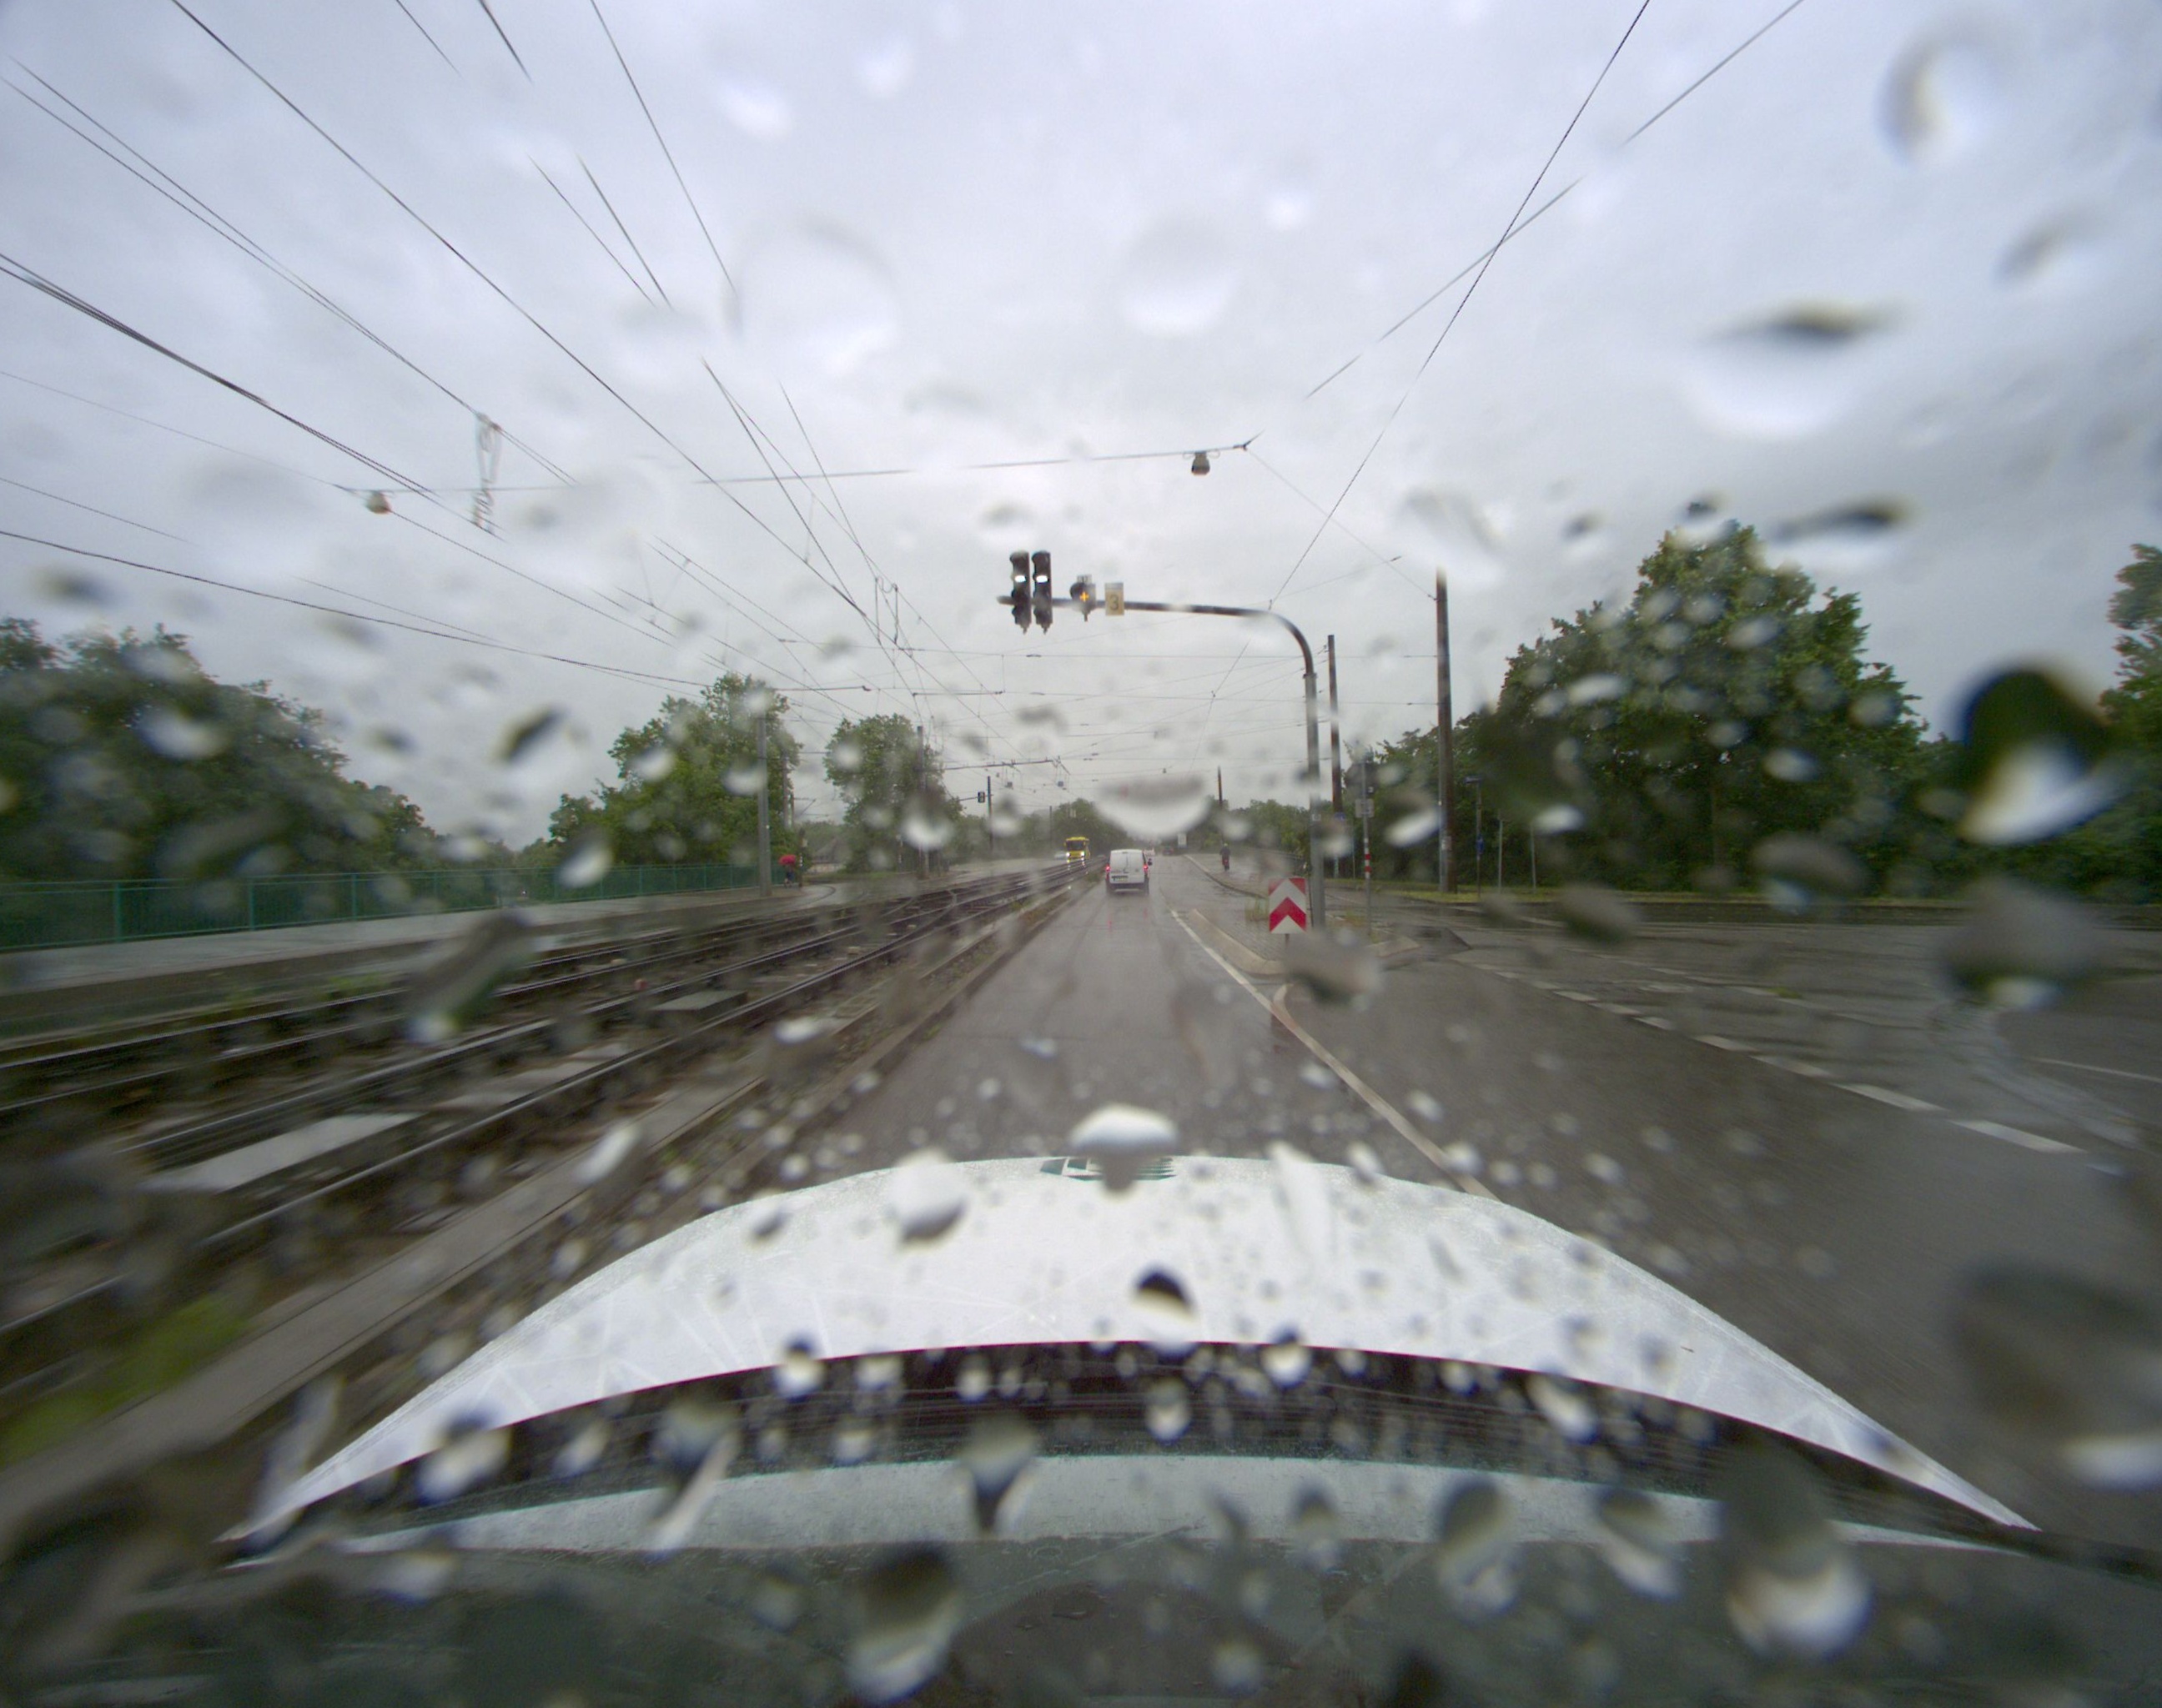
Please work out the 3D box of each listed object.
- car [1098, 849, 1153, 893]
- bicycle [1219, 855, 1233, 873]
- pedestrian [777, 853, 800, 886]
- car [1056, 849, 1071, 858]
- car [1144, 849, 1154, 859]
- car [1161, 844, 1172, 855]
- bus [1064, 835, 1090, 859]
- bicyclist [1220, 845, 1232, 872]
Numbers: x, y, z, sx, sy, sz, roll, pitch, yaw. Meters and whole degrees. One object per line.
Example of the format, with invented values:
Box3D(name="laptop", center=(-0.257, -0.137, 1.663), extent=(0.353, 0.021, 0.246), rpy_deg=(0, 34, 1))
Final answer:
Box3D(name="car", center=(1.940, 0.703, 34.157), extent=(1.982, 1.726, 4.008), rpy_deg=(0, -1, 8))
Box3D(name="bicycle", center=(9.415, 0.637, 53.011), extent=(0.719, 1.129, 2.171), rpy_deg=(0, 0, 6))
Box3D(name="pedestrian", center=(-16.202, 0.854, 45.112), extent=(0.860, 1.819, 1.044), rpy_deg=(0, -1, 3))
Box3D(name="car", center=(-2.829, -0.095, 131.720), extent=(1.925, 1.231, 4.107), rpy_deg=(-3, 1, 5))
Box3D(name="car", center=(10.638, -0.041, 127.684), extent=(1.445, 1.499, 2.983), rpy_deg=(0, -1, 1))
Box3D(name="car", center=(12.440, -0.635, 118.531), extent=(1.445, 1.499, 2.983), rpy_deg=(0, -1, 1))
Box3D(name="bus", center=(-0.549, -1.140, 124.228), extent=(2.695, 3.340, 11.011), rpy_deg=(-3, 1, 5))
Box3D(name="bicyclist", center=(9.413, 0.305, 52.982), extent=(0.722, 1.764, 0.951), rpy_deg=(0, -1, 6))
